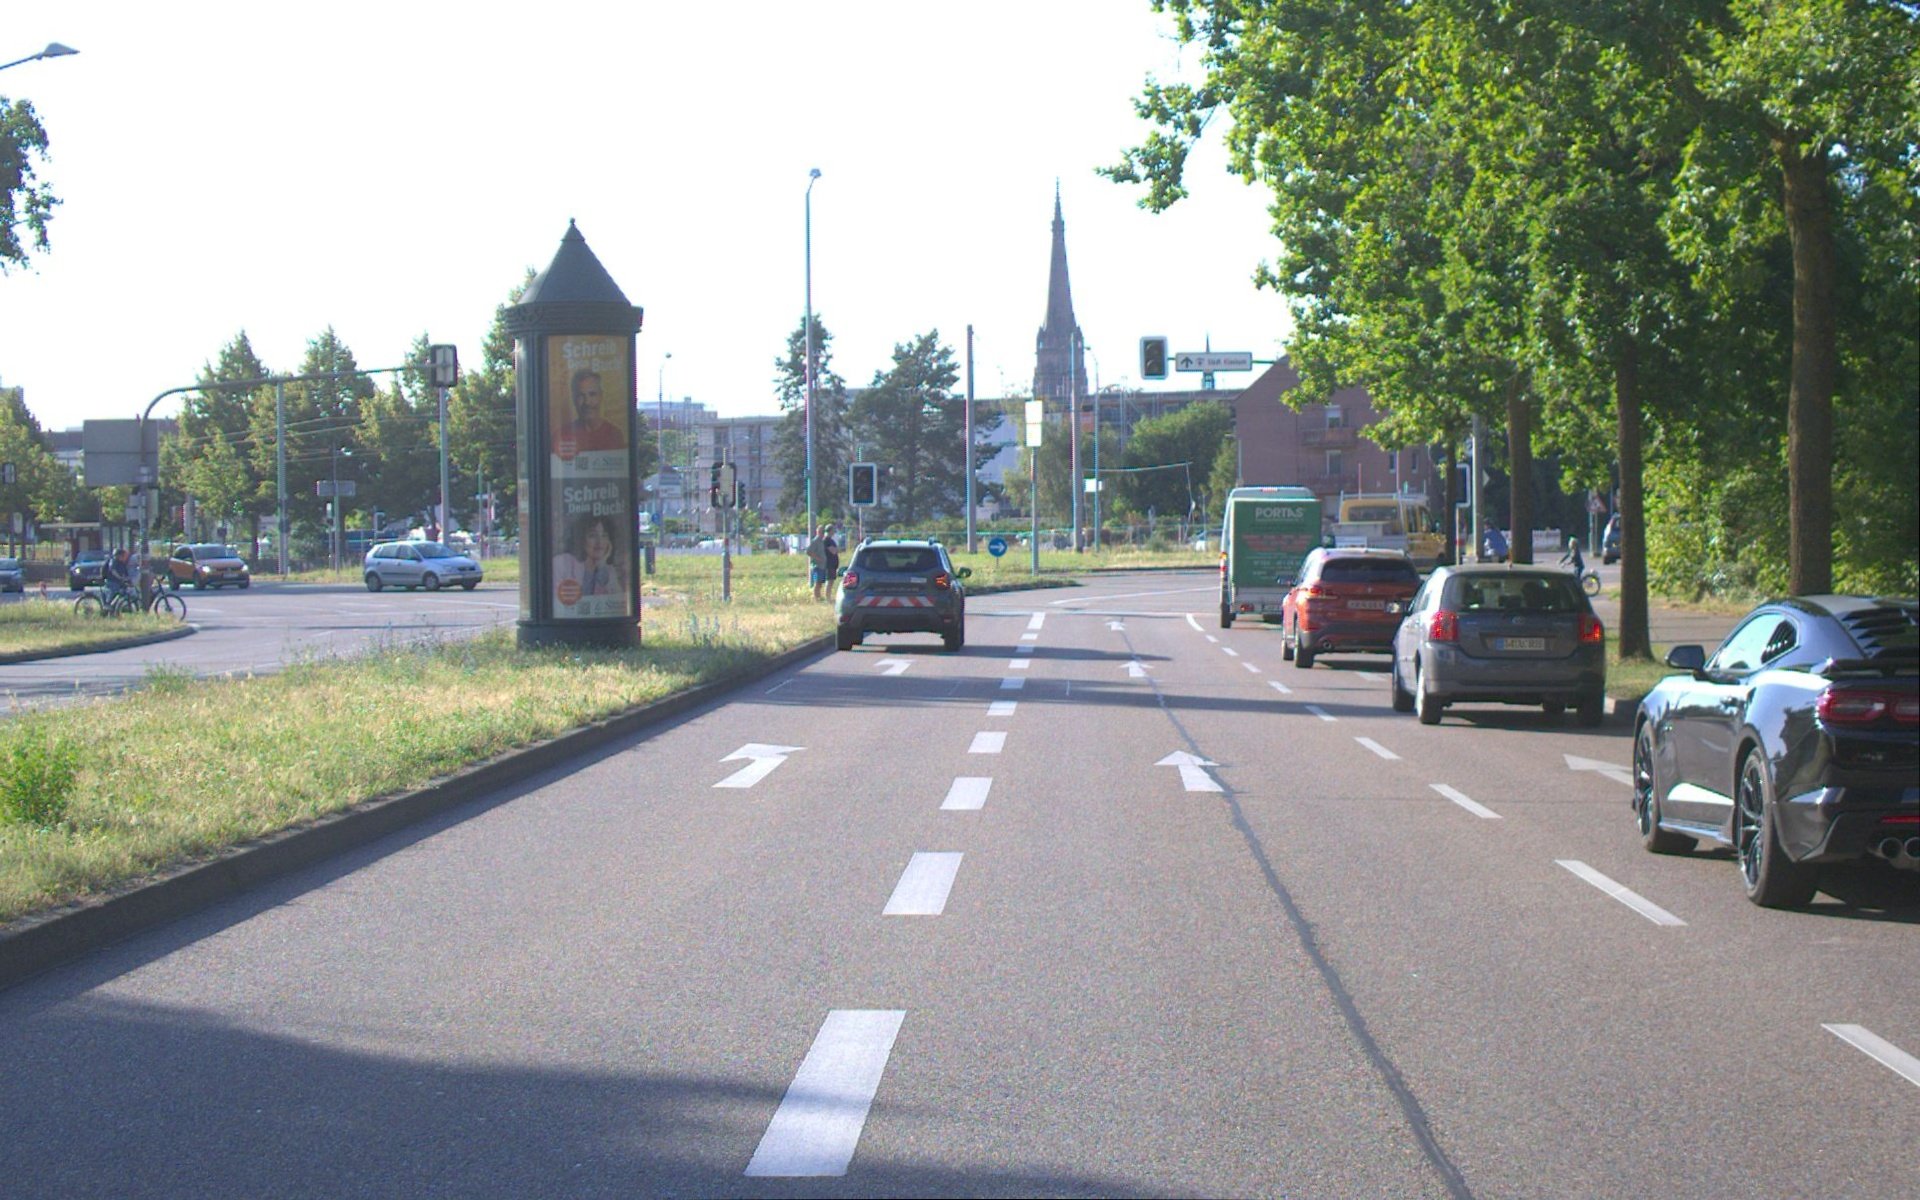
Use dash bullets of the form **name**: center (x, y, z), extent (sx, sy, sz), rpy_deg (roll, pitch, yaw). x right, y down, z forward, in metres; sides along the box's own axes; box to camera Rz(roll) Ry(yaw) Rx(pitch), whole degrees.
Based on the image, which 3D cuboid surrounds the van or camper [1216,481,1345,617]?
- **van or camper**: center (6.450, -1.082, 69.855), extent (2.285, 2.620, 6.583), rpy_deg (1, 2, 3)

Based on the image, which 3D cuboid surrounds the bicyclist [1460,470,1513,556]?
- **bicyclist**: center (11.952, -1.975, 78.049), extent (0.938, 1.892, 0.600), rpy_deg (-2, 1, 39)

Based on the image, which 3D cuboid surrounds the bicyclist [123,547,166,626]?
- **bicyclist**: center (-18.694, -0.317, 78.839), extent (0.813, 1.782, 0.496), rpy_deg (1, 1, 10)

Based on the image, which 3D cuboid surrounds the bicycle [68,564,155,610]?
- **bicycle**: center (-19.138, -0.301, 77.539), extent (1.910, 1.016, 0.504), rpy_deg (1, 1, 18)

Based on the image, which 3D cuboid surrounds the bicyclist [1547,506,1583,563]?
- **bicyclist**: center (13.927, -1.504, 79.139), extent (0.648, 1.290, 0.466), rpy_deg (-2, 2, -15)

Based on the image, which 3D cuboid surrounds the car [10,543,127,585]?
- **car**: center (-31.747, -1.275, 122.396), extent (4.143, 1.371, 1.669), rpy_deg (-1, 2, 34)

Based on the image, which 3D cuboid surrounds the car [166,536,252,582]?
- **car**: center (-24.265, -1.333, 110.947), extent (1.903, 1.439, 4.140), rpy_deg (-2, 2, -24)

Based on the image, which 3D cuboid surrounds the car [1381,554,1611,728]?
- **car**: center (4.985, 0.339, 32.392), extent (1.747, 1.468, 3.819), rpy_deg (-1, 1, 3)

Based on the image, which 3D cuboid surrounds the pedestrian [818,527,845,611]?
- **pedestrian**: center (-2.827, -0.684, 75.638), extent (0.486, 1.837, 0.672), rpy_deg (-1, 1, 5)

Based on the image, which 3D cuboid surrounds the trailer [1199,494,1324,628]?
- **trailer**: center (5.551, -0.745, 63.669), extent (2.090, 2.392, 3.501), rpy_deg (1, 1, 2)

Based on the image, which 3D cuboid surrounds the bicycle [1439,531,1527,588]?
- **bicycle**: center (11.883, -0.921, 78.145), extent (1.908, 1.240, 0.608), rpy_deg (-2, 1, 39)

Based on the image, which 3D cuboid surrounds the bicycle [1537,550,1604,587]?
- **bicycle**: center (14.059, -0.730, 79.183), extent (1.459, 0.783, 0.440), rpy_deg (-3, 2, -15)

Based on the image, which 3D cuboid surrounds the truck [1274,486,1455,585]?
- **truck**: center (10.903, -1.756, 92.180), extent (2.584, 2.549, 6.242), rpy_deg (0, 2, 30)

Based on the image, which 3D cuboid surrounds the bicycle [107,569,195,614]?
- **bicycle**: center (-18.537, -0.201, 78.784), extent (1.909, 1.016, 0.504), rpy_deg (1, 1, 9)

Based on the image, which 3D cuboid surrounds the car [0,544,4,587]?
- **car**: center (-33.078, -1.093, 113.940), extent (1.667, 1.436, 3.616), rpy_deg (-2, 2, 1)

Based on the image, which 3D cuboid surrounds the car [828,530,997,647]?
- **car**: center (-0.663, -0.202, 51.278), extent (1.906, 1.654, 3.999), rpy_deg (-1, 1, 8)

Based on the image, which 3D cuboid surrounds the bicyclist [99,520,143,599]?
- **bicyclist**: center (-18.904, -0.923, 77.459), extent (0.813, 1.764, 0.496), rpy_deg (1, 1, 17)

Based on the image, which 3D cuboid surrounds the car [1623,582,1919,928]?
- **car**: center (4.294, 0.604, 15.880), extent (1.854, 1.333, 4.624), rpy_deg (0, 1, 4)

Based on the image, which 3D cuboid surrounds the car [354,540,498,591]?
- **car**: center (-15.653, -1.012, 100.795), extent (3.751, 1.429, 1.834), rpy_deg (0, 2, 24)

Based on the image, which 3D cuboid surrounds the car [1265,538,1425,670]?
- **car**: center (5.175, 0.018, 46.653), extent (1.747, 1.615, 3.820), rpy_deg (1, 2, 0)

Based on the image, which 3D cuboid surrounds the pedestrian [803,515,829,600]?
- **pedestrian**: center (-3.121, -0.930, 74.637), extent (0.486, 1.837, 0.719), rpy_deg (0, 1, 4)
